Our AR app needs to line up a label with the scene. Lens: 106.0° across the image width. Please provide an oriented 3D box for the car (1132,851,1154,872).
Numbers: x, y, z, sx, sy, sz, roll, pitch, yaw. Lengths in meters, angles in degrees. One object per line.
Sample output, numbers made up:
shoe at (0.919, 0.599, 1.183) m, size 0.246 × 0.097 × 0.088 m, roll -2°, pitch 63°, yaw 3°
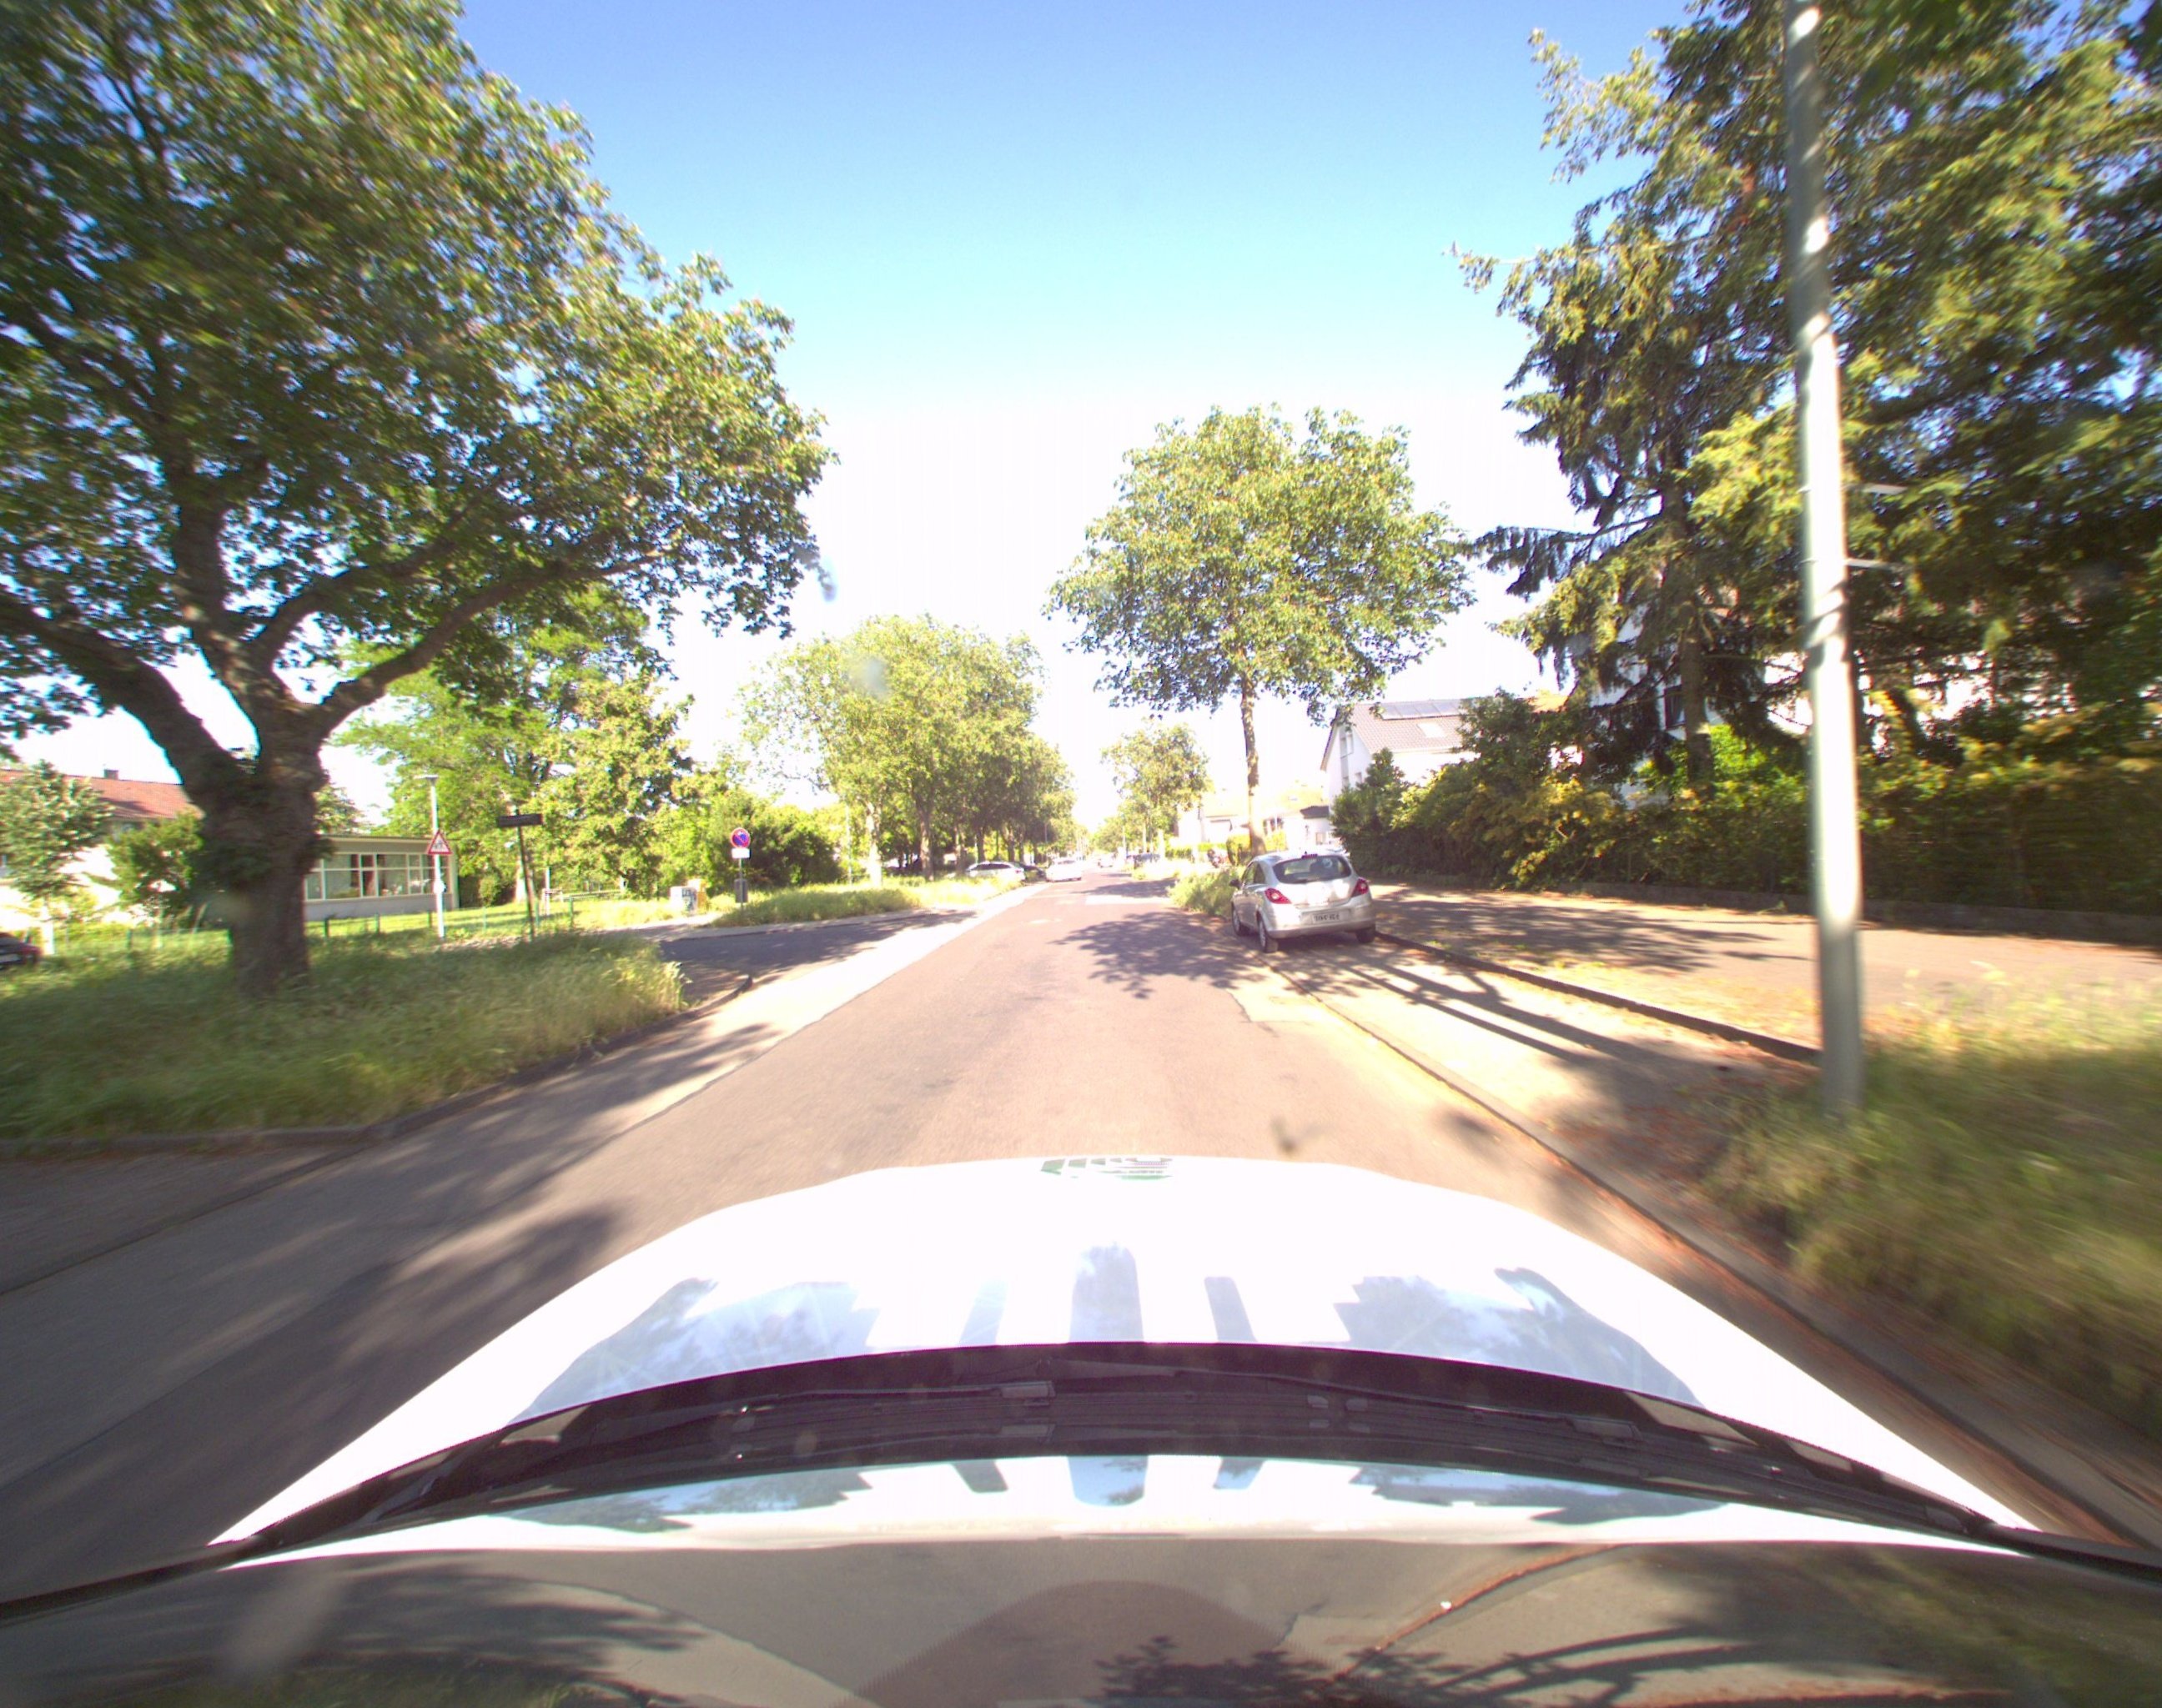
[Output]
car at (4.975, 0.590, 65.643) m, size 1.604 × 1.622 × 4.383 m, roll 0°, pitch -1°, yaw 2°

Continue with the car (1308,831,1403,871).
car at (13.414, -0.142, 39.884) m, size 3.981 × 1.640 × 1.773 m, roll -3°, pitch 0°, yaw -5°

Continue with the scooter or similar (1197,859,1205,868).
scooter or similar at (11.859, 0.898, 80.490) m, size 0.368 × 0.858 × 1.406 m, roll -2°, pitch -1°, yaw -12°

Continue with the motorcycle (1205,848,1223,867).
motorcycle at (9.103, 0.226, 55.927) m, size 0.815 × 1.227 × 2.352 m, roll -5°, pitch 0°, yaw 1°

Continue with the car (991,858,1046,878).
car at (-5.150, 1.147, 67.745) m, size 4.353 × 1.531 × 1.807 m, roll -2°, pitch -1°, yaw 0°

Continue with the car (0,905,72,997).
car at (-22.845, 2.005, 15.890) m, size 3.973 × 1.714 × 1.822 m, roll -3°, pitch 0°, yaw 1°

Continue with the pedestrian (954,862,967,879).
pedestrian at (-13.599, 1.866, 91.829) m, size 1.227 × 1.827 × 1.543 m, roll -1°, pitch -1°, yaw -15°

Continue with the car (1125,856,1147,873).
car at (6.245, 1.220, 92.687) m, size 1.988 × 1.728 × 3.998 m, roll -5°, pitch -1°, yaw -1°

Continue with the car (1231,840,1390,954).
car at (3.656, 0.643, 13.697) m, size 1.982 × 1.510 × 4.009 m, roll -4°, pitch -1°, yaw 8°

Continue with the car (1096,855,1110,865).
car at (3.065, 0.846, 114.992) m, size 1.986 × 1.508 × 3.659 m, roll 0°, pitch -1°, yaw 1°

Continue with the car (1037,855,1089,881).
car at (-1.209, 0.907, 52.027) m, size 2.001 × 1.455 × 4.195 m, roll -3°, pitch 0°, yaw -21°

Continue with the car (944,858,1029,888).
car at (-5.516, 1.125, 47.972) m, size 4.653 × 1.503 × 2.001 m, roll -3°, pitch 0°, yaw 2°

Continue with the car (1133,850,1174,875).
car at (4.778, 0.576, 54.074) m, size 1.990 × 1.622 × 4.374 m, roll 0°, pitch -1°, yaw -5°
